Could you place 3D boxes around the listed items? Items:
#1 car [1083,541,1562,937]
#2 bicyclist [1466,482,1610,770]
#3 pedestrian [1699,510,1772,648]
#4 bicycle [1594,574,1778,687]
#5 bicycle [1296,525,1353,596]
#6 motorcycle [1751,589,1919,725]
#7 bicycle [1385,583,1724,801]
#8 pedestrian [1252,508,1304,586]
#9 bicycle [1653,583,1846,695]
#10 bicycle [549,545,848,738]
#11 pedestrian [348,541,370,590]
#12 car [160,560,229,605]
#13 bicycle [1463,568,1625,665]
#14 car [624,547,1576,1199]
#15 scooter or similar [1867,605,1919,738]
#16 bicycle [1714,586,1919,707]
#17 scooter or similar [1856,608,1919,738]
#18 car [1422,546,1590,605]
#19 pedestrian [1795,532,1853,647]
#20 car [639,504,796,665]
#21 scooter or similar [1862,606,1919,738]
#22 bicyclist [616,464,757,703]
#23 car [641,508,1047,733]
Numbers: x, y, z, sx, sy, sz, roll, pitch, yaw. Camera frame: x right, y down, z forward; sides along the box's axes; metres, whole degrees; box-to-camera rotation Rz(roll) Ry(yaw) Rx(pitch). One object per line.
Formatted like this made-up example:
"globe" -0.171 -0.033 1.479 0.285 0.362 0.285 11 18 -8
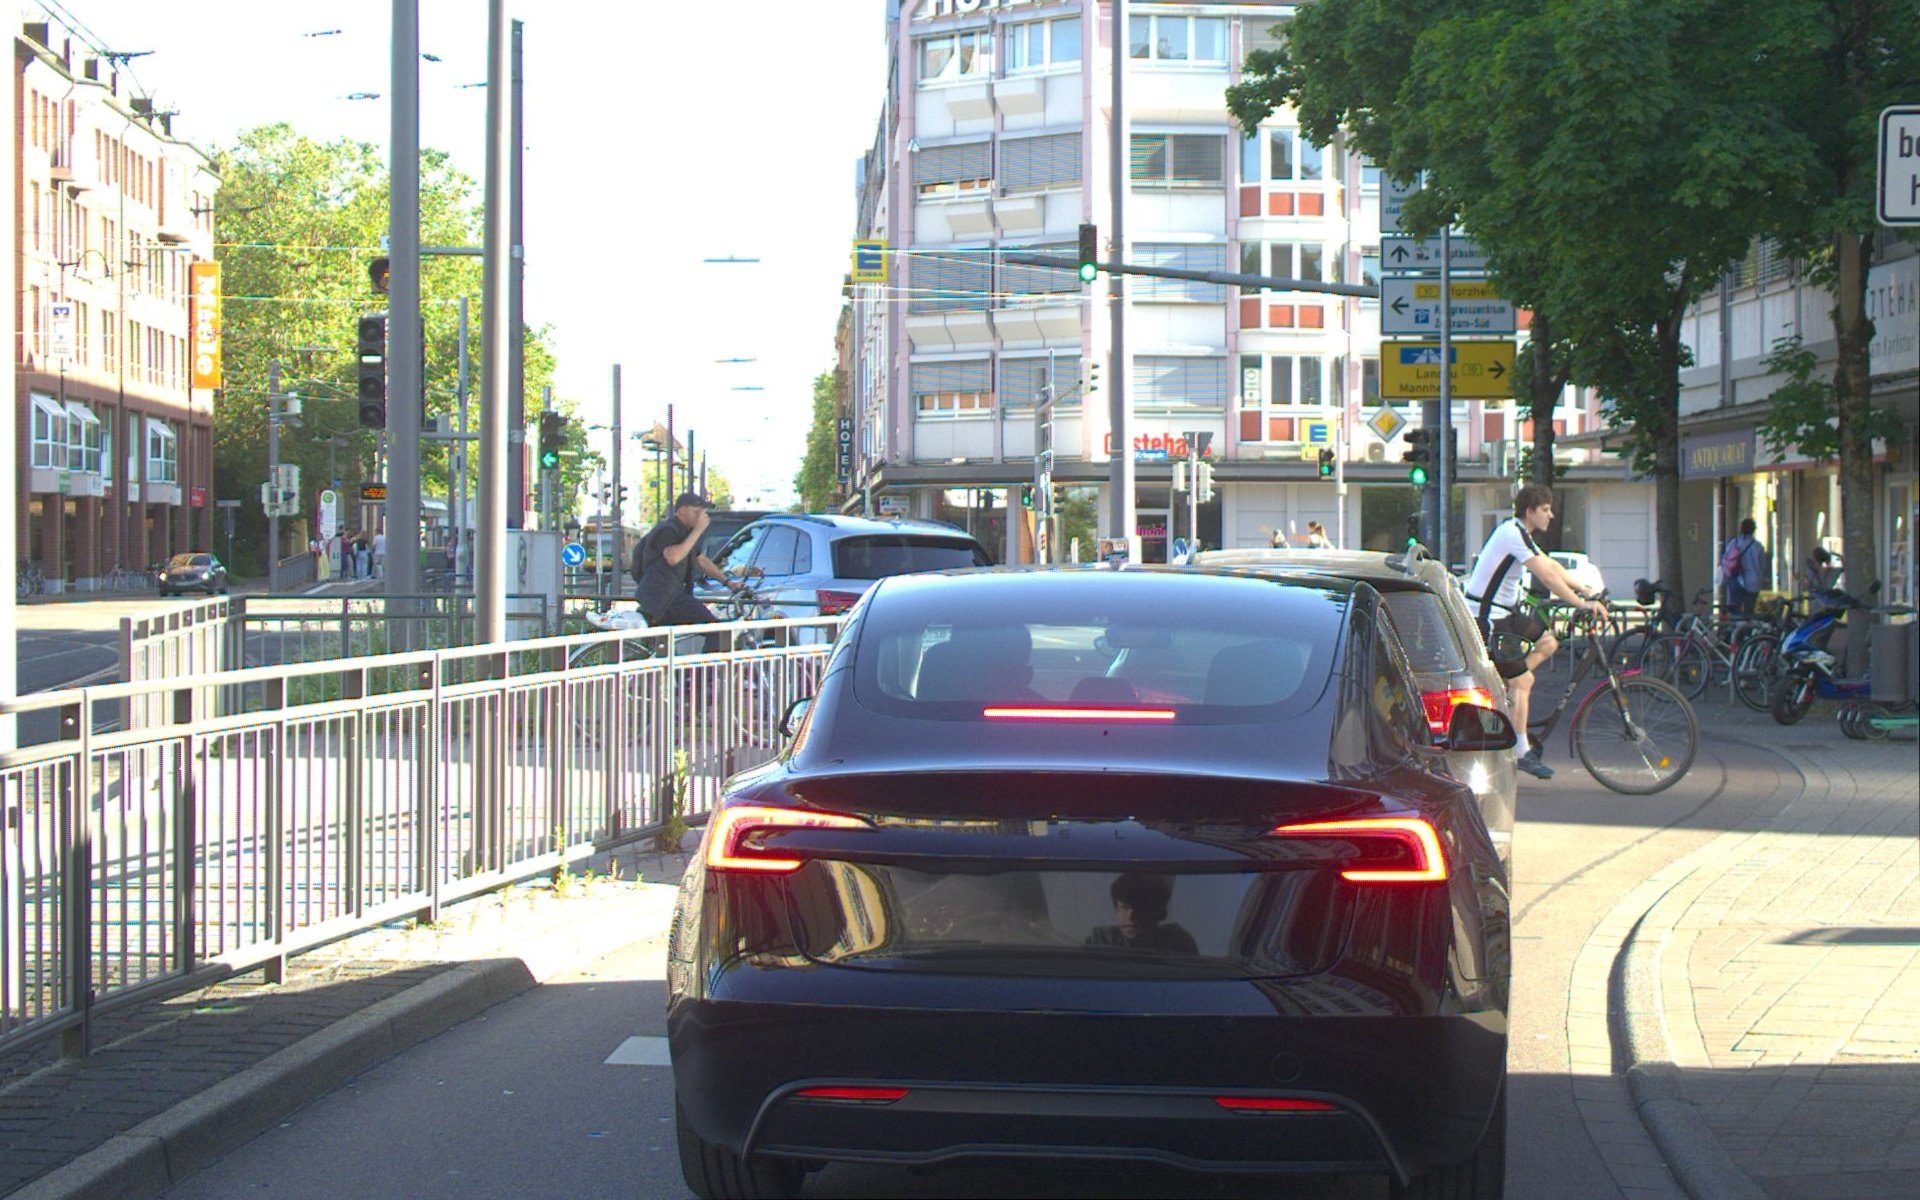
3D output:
"car" 1.520 0.480 15.140 1.765 1.439 4.528 1 1 4
"bicyclist" 3.318 0.146 19.767 0.681 1.625 0.578 1 0 -3
"pedestrian" 9.780 -0.272 43.400 0.843 1.715 0.879 1 0 11
"bicycle" 7.467 0.310 35.372 1.809 1.147 0.435 0 0 -4
"bicycle" 7.581 -0.820 71.549 0.582 1.458 1.686 0 1 -16
"motorcycle" 7.677 0.485 29.200 1.787 1.126 0.504 1 0 -3
"bicycle" 3.403 0.521 19.755 1.820 1.207 0.582 1 0 -2
"pedestrian" 6.595 -1.106 71.412 0.779 1.571 0.868 1 2 -15
"bicycle" 7.649 0.376 33.338 1.767 1.053 0.458 1 0 5
"bicycle" -1.685 0.260 22.262 1.820 1.207 0.642 0 1 -31
"pedestrian" -19.073 -1.097 109.100 0.583 1.525 0.638 1 0 -18
"car" -25.635 -0.586 115.204 1.817 1.449 3.978 -1 1 -6
"bicycle" 7.212 0.196 42.486 1.890 1.152 0.480 -1 0 0
"car" 0.360 0.627 8.504 1.790 1.446 3.939 1 2 3
"scooter or similar" 7.609 0.560 26.905 0.964 1.039 0.160 0 1 3
"bicycle" 7.828 0.416 31.341 1.849 1.052 0.399 -1 1 -11
"scooter or similar" 7.620 0.577 27.304 0.964 1.023 0.160 0 1 3
"car" 13.726 -0.609 86.482 3.840 1.427 1.804 0 -1 -5
"pedestrian" 10.814 -0.132 43.032 0.645 1.417 0.621 1 0 10
"car" -2.566 -0.177 36.947 1.572 1.612 3.784 1 1 -3
"scooter or similar" 7.614 0.570 27.104 0.956 1.035 0.160 0 1 3
"bicyclist" -1.770 -0.106 22.210 0.681 1.518 0.635 1 0 -31
"car" -0.970 0.127 26.808 1.839 1.629 3.486 1 1 -27
